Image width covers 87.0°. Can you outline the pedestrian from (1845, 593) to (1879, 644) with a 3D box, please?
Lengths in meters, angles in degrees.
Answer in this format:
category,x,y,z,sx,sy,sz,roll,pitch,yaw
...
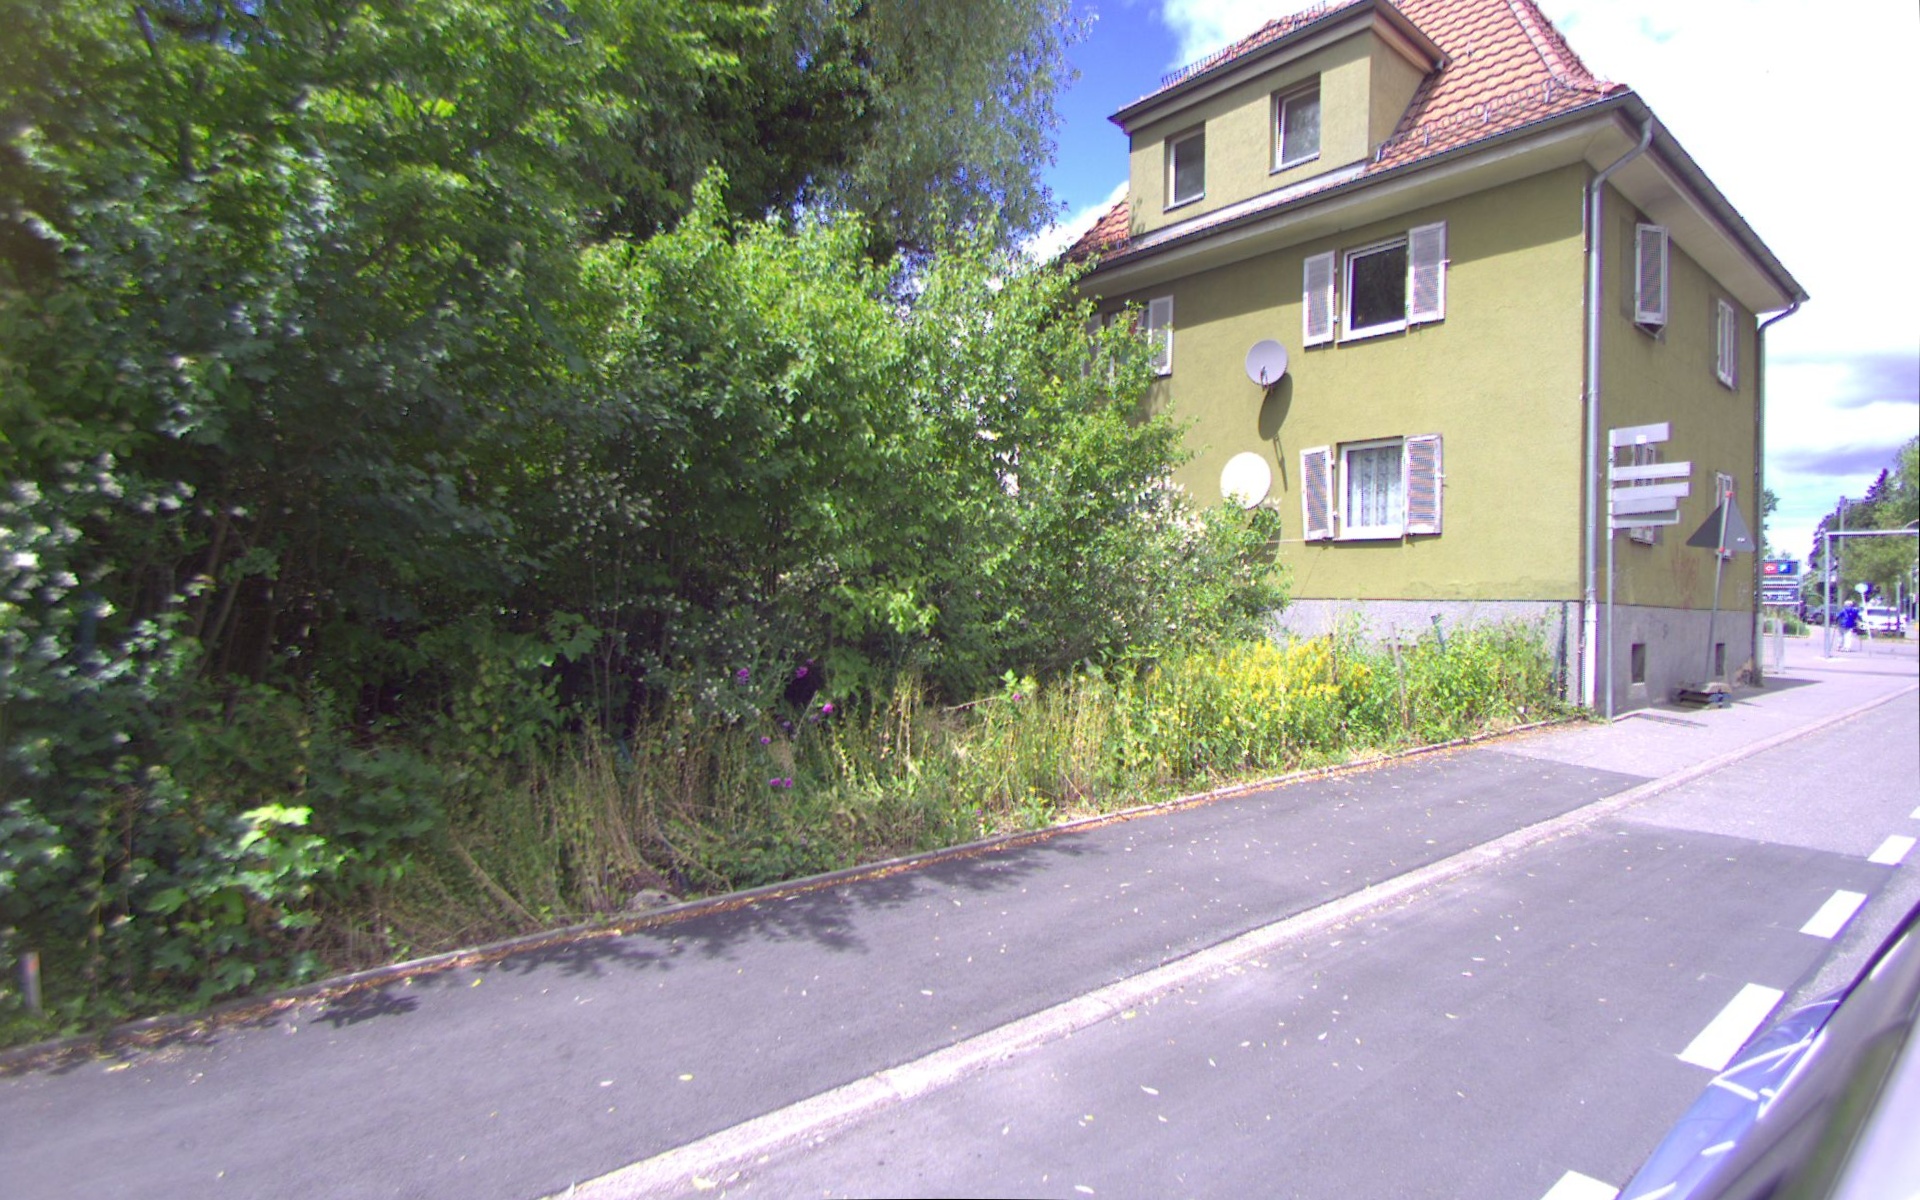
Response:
category,x,y,z,sx,sy,sz,roll,pitch,yaw
pedestrian,28.206,0.569,31.654,0.726,1.572,1.042,1,0,39

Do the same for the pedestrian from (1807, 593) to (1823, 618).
category,x,y,z,sx,sy,sz,roll,pitch,yaw
pedestrian,59.460,0.383,70.383,0.765,1.683,0.721,1,-3,-45

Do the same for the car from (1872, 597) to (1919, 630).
category,x,y,z,sx,sy,sz,roll,pitch,yaw
car,47.623,0.661,51.194,3.931,1.529,1.797,0,2,-42
